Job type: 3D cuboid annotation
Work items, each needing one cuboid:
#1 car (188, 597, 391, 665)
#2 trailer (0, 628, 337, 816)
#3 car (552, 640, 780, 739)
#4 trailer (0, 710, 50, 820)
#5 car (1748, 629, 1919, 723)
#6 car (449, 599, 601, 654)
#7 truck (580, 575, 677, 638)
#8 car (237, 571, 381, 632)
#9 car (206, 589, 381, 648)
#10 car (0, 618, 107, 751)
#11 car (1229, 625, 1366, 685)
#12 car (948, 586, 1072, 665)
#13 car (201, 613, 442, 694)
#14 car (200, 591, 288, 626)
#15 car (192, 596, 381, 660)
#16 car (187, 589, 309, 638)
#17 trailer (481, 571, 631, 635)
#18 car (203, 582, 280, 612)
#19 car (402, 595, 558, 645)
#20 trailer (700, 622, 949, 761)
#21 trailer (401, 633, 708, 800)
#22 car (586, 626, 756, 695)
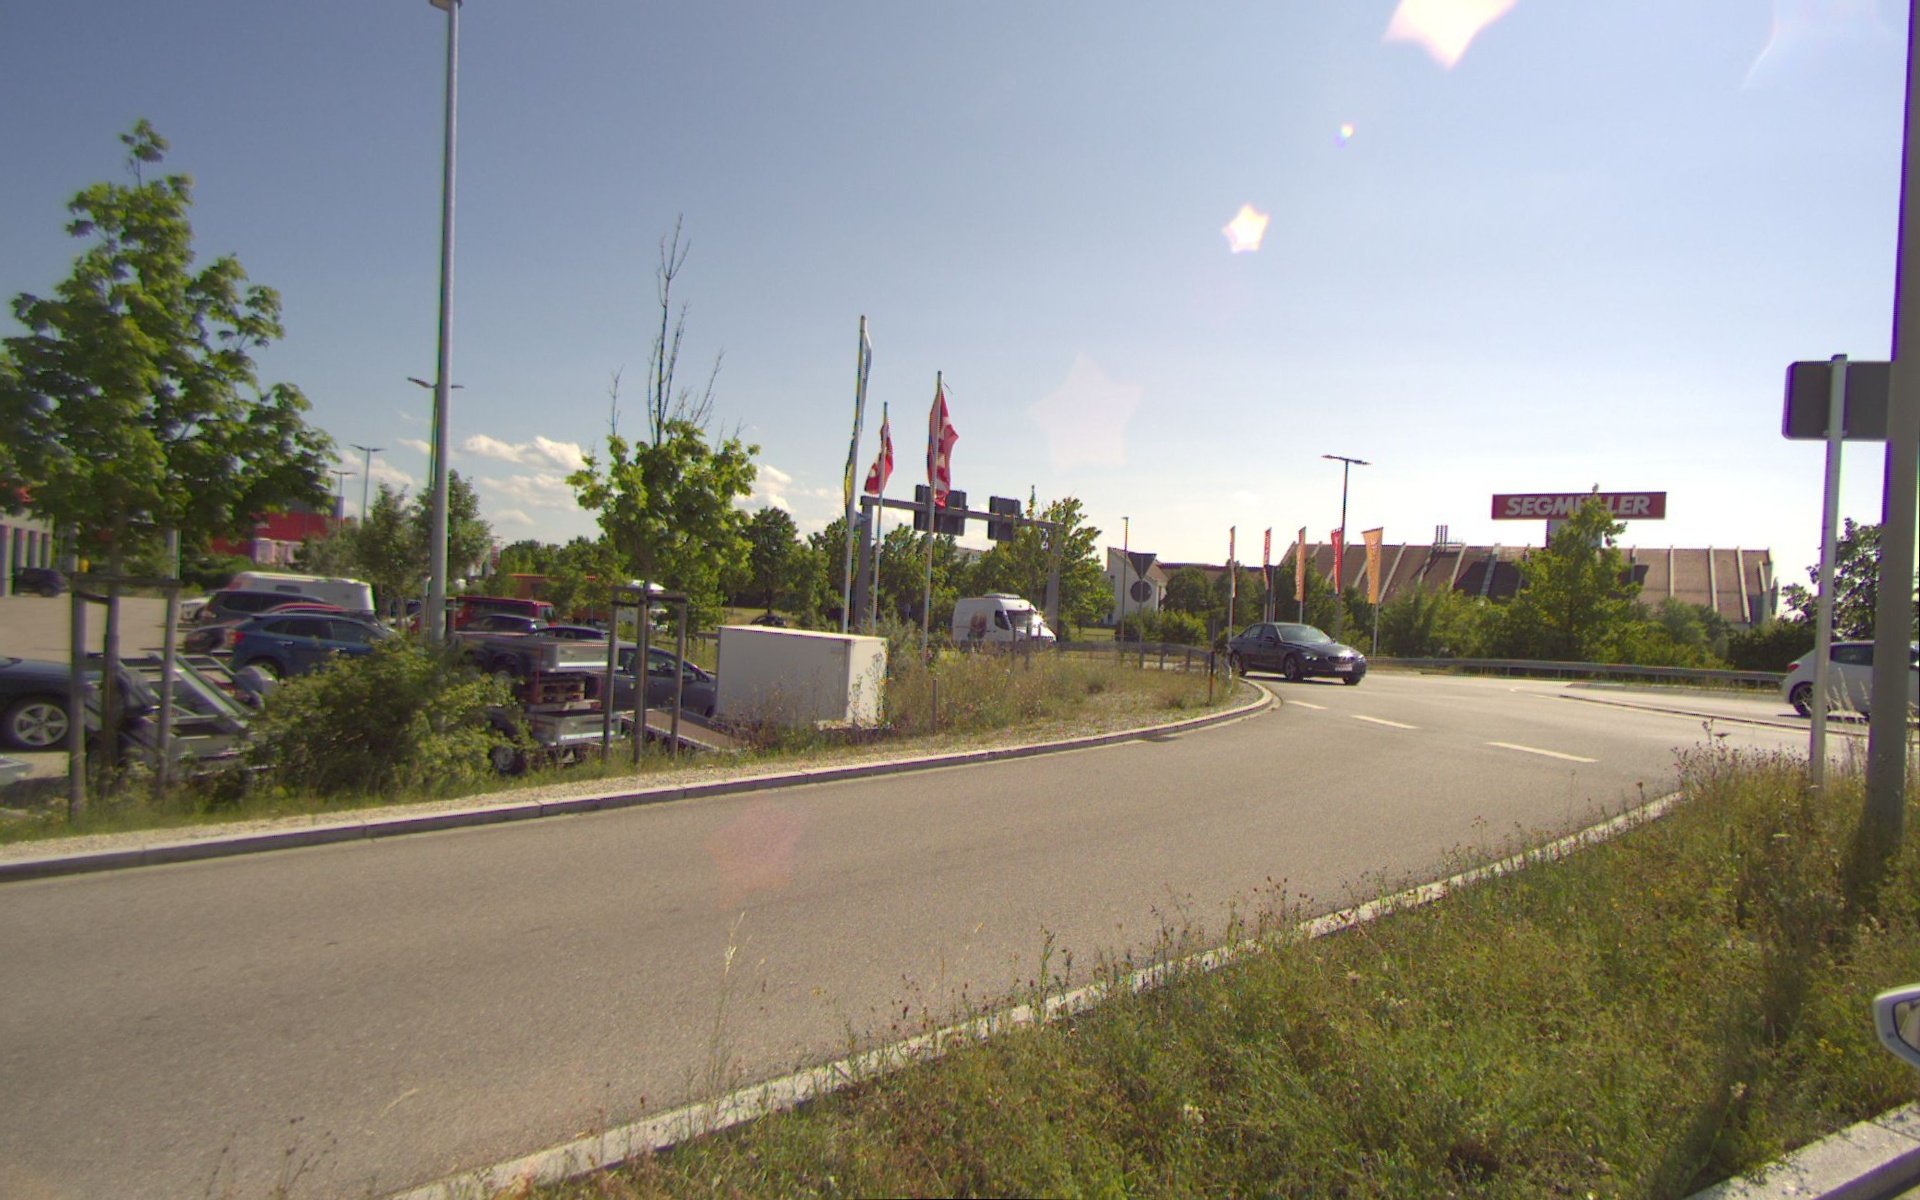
[{"bbox_3d":[-16.244,0.760,24.543,3.958,1.483,1.808,2,0,-33],"label":"car"},{"bbox_3d":[-9.191,1.257,11.448,3.626,1.471,1.707,6,2,22],"label":"trailer"},{"bbox_3d":[-5.452,1.599,18.767,3.708,1.572,1.726,2,1,-36],"label":"car"},{"bbox_3d":[-10.324,1.505,9.287,2.783,0.893,1.865,3,0,24],"label":"trailer"},{"bbox_3d":[16.457,1.335,17.319,1.760,1.424,4.407,3,0,-11],"label":"car"},{"bbox_3d":[-13.651,0.822,31.697,3.923,1.483,1.825,3,0,-2],"label":"car"},{"bbox_3d":[-23.325,0.437,70.603,6.313,4.161,2.661,2,0,26],"label":"truck"},{"bbox_3d":[-24.001,0.064,37.079,4.309,2.040,1.883,2,1,-37],"label":"car"},{"bbox_3d":[-18.691,0.536,28.329,3.958,1.483,1.808,2,0,-33],"label":"car"},{"bbox_3d":[-13.165,0.981,11.880,4.449,1.503,1.787,2,1,-33],"label":"car"},{"bbox_3d":[8.306,1.327,25.115,1.646,1.198,3.859,3,0,-8],"label":"car"},{"bbox_3d":[1.978,0.980,42.060,2.061,2.960,6.087,2,1,-31],"label":"car"},{"bbox_3d":[-12.960,1.060,20.486,3.965,1.483,1.805,2,-2,-38],"label":"car"},{"bbox_3d":[-38.438,0.464,53.949,3.713,1.672,1.724,2,1,-40],"label":"car"},{"bbox_3d":[-17.531,0.742,26.344,3.958,1.483,1.808,2,0,-33],"label":"car"},{"bbox_3d":[-26.991,0.526,38.201,3.657,1.672,1.727,2,1,-35],"label":"car"},{"bbox_3d":[-29.757,0.165,73.699,12.127,4.209,2.559,2,0,25],"label":"trailer"},{"bbox_3d":[-44.358,-0.150,62.029,3.713,1.672,1.724,2,1,-40],"label":"car"},{"bbox_3d":[-16.286,0.662,34.253,4.369,1.483,1.825,3,0,-2],"label":"car"},{"bbox_3d":[-2.258,1.430,16.837,3.625,1.795,1.807,5,2,22],"label":"trailer"},{"bbox_3d":[-5.543,1.467,13.778,3.625,1.795,1.807,3,1,23],"label":"trailer"},{"bbox_3d":[-7.634,1.580,26.799,3.923,1.483,1.825,4,-1,-2],"label":"car"}]
